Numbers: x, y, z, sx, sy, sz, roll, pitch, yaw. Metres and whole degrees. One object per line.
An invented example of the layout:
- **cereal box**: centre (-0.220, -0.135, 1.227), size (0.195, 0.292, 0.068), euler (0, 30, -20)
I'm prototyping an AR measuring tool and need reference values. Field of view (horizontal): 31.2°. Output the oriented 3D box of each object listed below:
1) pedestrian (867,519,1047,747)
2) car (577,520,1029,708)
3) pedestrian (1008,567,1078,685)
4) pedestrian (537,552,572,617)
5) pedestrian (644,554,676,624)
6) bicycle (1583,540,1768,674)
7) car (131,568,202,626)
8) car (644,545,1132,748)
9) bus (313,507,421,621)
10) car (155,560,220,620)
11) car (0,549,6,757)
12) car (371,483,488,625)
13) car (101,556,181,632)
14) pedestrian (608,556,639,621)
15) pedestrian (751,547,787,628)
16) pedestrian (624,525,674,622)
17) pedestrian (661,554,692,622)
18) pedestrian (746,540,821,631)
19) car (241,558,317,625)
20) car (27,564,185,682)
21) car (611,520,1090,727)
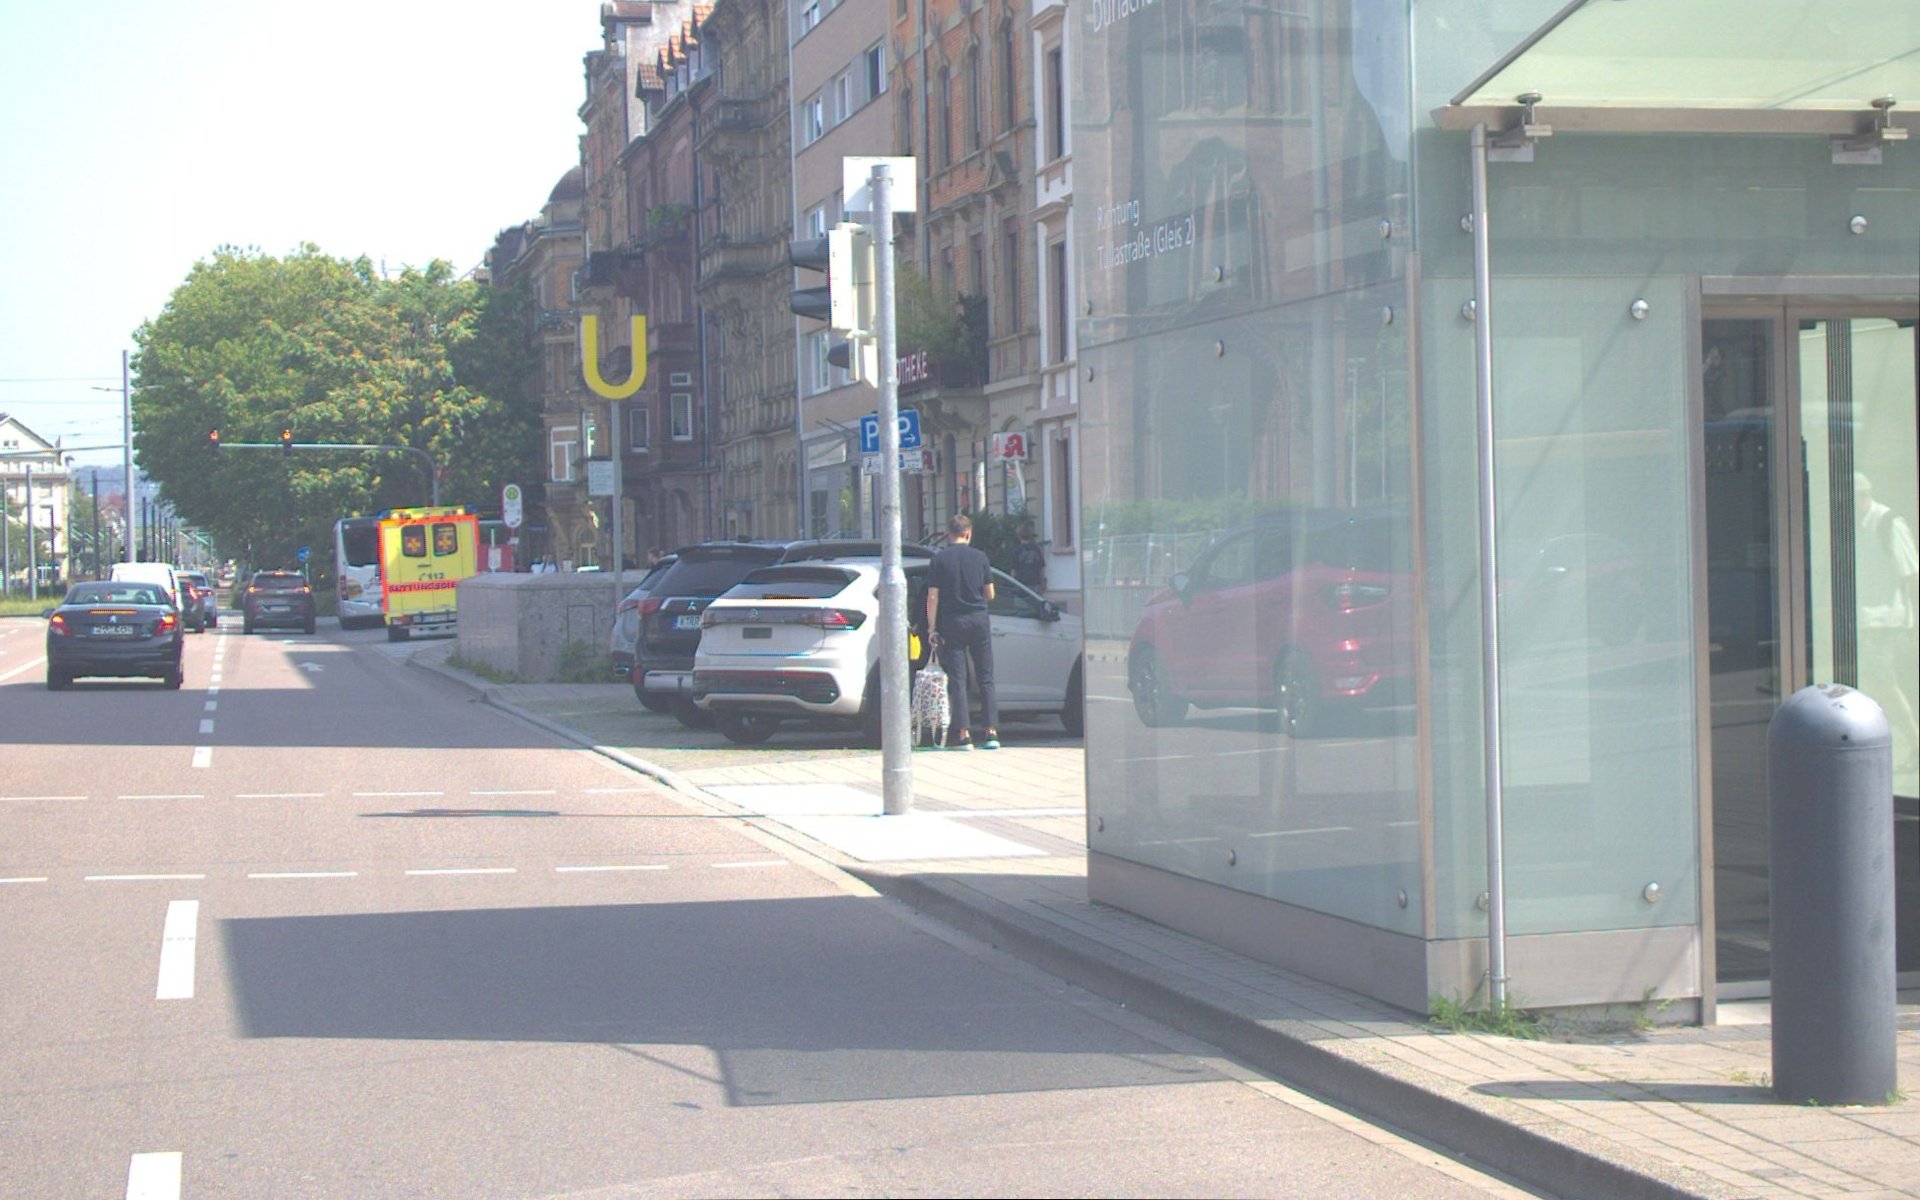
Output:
- **pedestrian**: centre (-0.025, 0.239, 26.244), size (1.035, 1.698, 0.904), euler (0, 1, -38)
- **car**: centre (-1.500, 0.096, 34.669), size (2.041, 1.708, 4.656), euler (-1, 1, 37)
- **pedestrian**: centre (1.340, 0.411, 55.453), size (0.841, 1.839, 0.686), euler (-3, 1, -21)
- **pedestrian**: centre (-10.505, -0.404, 89.113), size (0.697, 1.661, 0.602), euler (-1, 1, 14)
- **pedestrian**: centre (-7.163, -0.271, 82.060), size (0.696, 1.661, 0.603), euler (-1, 1, -10)
- **bicycle**: centre (6.918, 0.045, 33.377), size (0.938, 1.234, 2.423), euler (-1, 1, -9)
- **car**: centre (-21.059, -0.071, 91.218), size (1.789, 1.467, 4.001), euler (-1, 0, -13)
- **car**: centre (-0.527, 0.341, 27.729), size (1.806, 1.495, 3.776), euler (2, 1, 43)
- **bus**: centre (-17.169, -1.026, 99.035), size (2.533, 3.021, 12.439), euler (-1, 1, -12)
- **car**: centre (-22.491, -0.274, 100.040), size (1.789, 1.692, 4.001), euler (-1, 0, -13)
- **car**: centre (-7.457, 0.359, 22.796), size (1.762, 1.612, 4.083), euler (-2, 1, -10)
- **car**: centre (-11.503, -1.004, 74.737), size (2.298, 2.878, 5.600), euler (-3, 1, -8)
- **car**: centre (-19.763, -0.136, 83.020), size (1.789, 1.774, 4.001), euler (-1, 0, -13)
- **pedestrian**: centre (-8.769, -0.305, 89.563), size (0.696, 1.661, 1.065), euler (-1, 1, -10)
- **pedestrian**: centre (-4.198, -0.283, 75.476), size (0.577, 1.744, 0.679), euler (-4, 1, -12)
- **pedestrian**: centre (-5.780, -0.501, 63.933), size (0.850, 1.723, 0.971), euler (-2, 3, -5)
- **pedestrian**: centre (-7.145, -0.310, 86.723), size (0.643, 1.679, 0.789), euler (-1, 1, -12)
- **pedestrian**: centre (-3.138, -0.260, 61.132), size (0.970, 1.576, 0.850), euler (-1, 0, 45)
- **car**: centre (-17.830, -0.203, 89.905), size (1.789, 1.672, 4.001), euler (-1, 0, -13)
- **car**: centre (-11.191, 0.267, 45.259), size (1.789, 1.426, 4.001), euler (-2, 1, -11)
- **car**: centre (-0.905, 0.163, 30.962), size (1.984, 1.681, 4.383), euler (-1, 1, 37)
